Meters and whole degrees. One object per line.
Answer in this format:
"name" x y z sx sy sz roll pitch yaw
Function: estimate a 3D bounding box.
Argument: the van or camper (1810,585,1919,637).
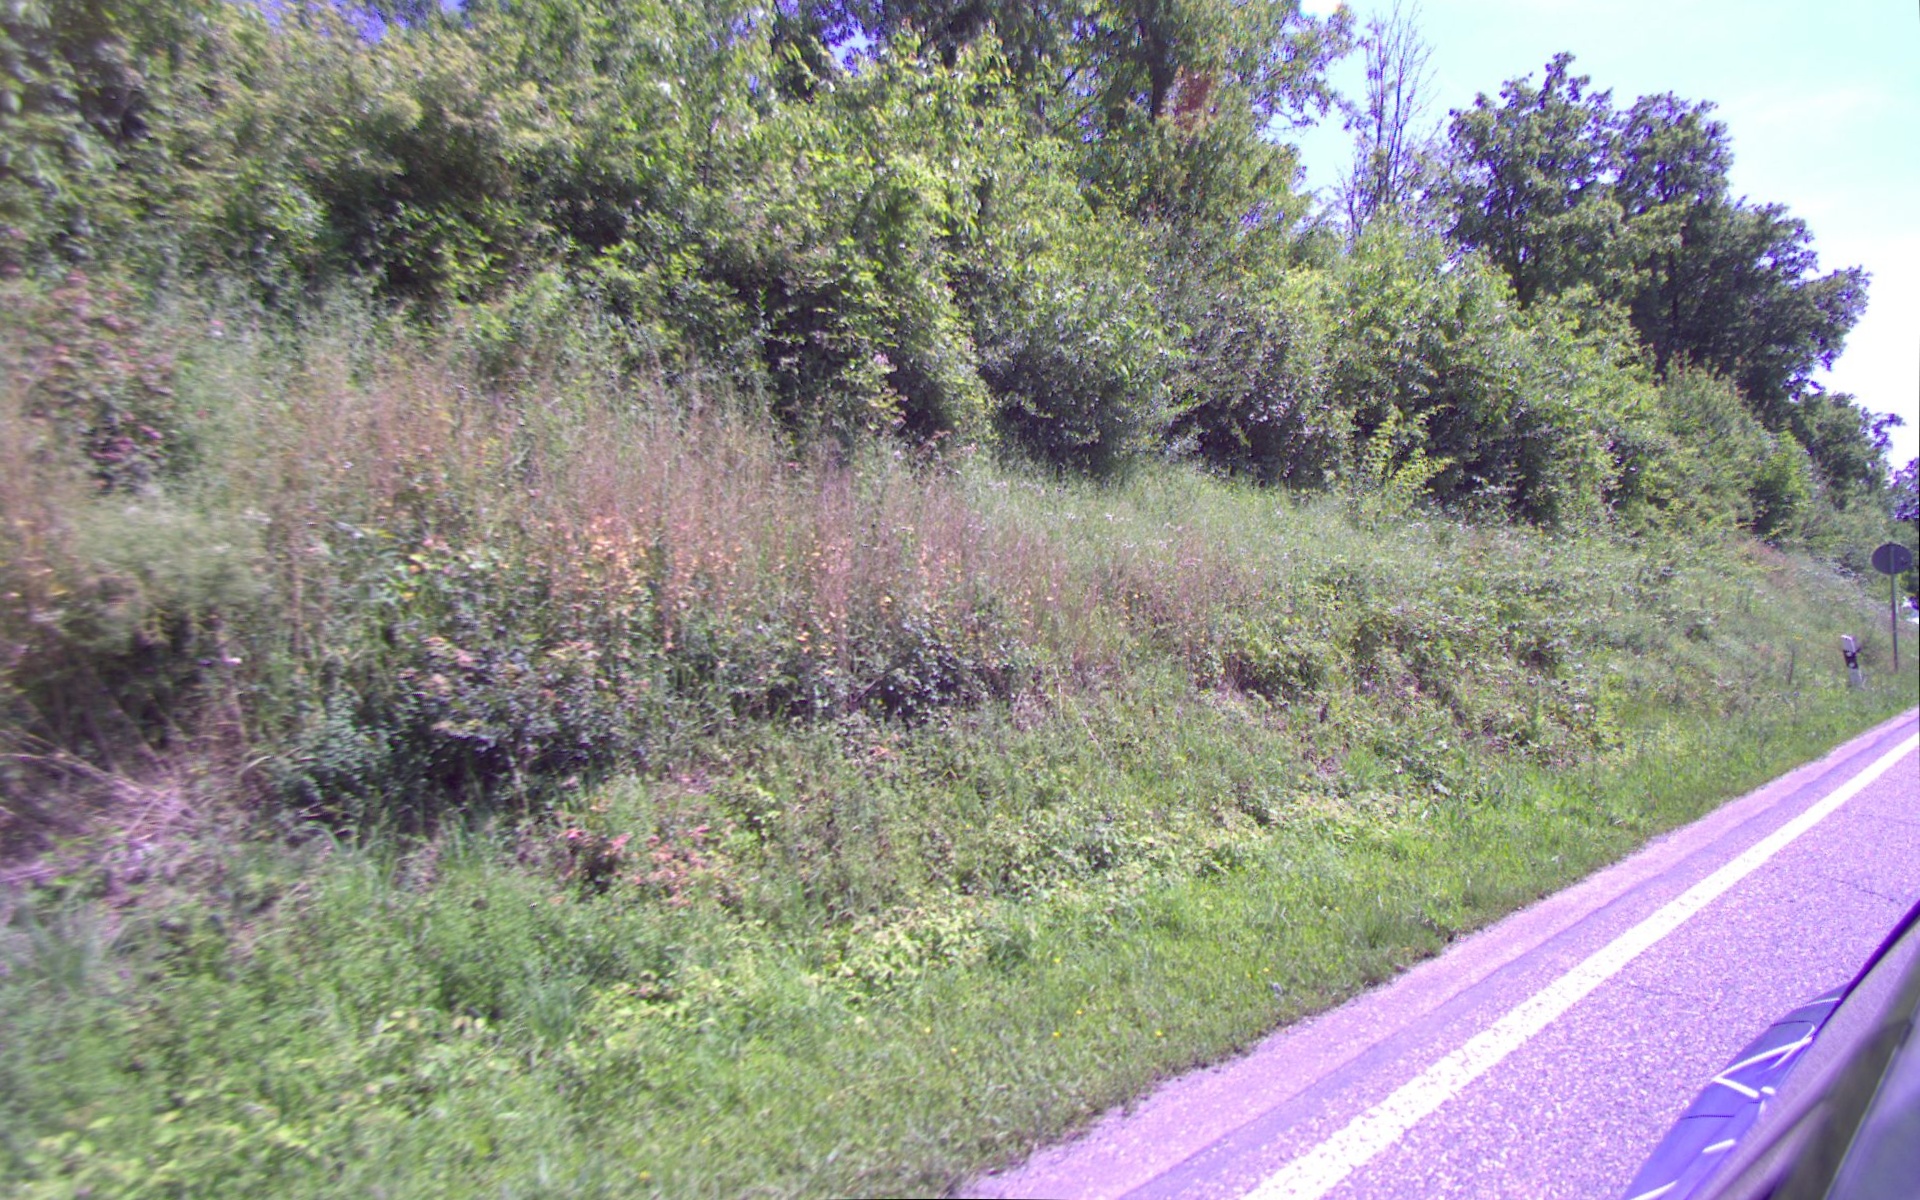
"van or camper" 59.939 0.754 65.832 2.061 3.254 7.264 -1 -2 -12
